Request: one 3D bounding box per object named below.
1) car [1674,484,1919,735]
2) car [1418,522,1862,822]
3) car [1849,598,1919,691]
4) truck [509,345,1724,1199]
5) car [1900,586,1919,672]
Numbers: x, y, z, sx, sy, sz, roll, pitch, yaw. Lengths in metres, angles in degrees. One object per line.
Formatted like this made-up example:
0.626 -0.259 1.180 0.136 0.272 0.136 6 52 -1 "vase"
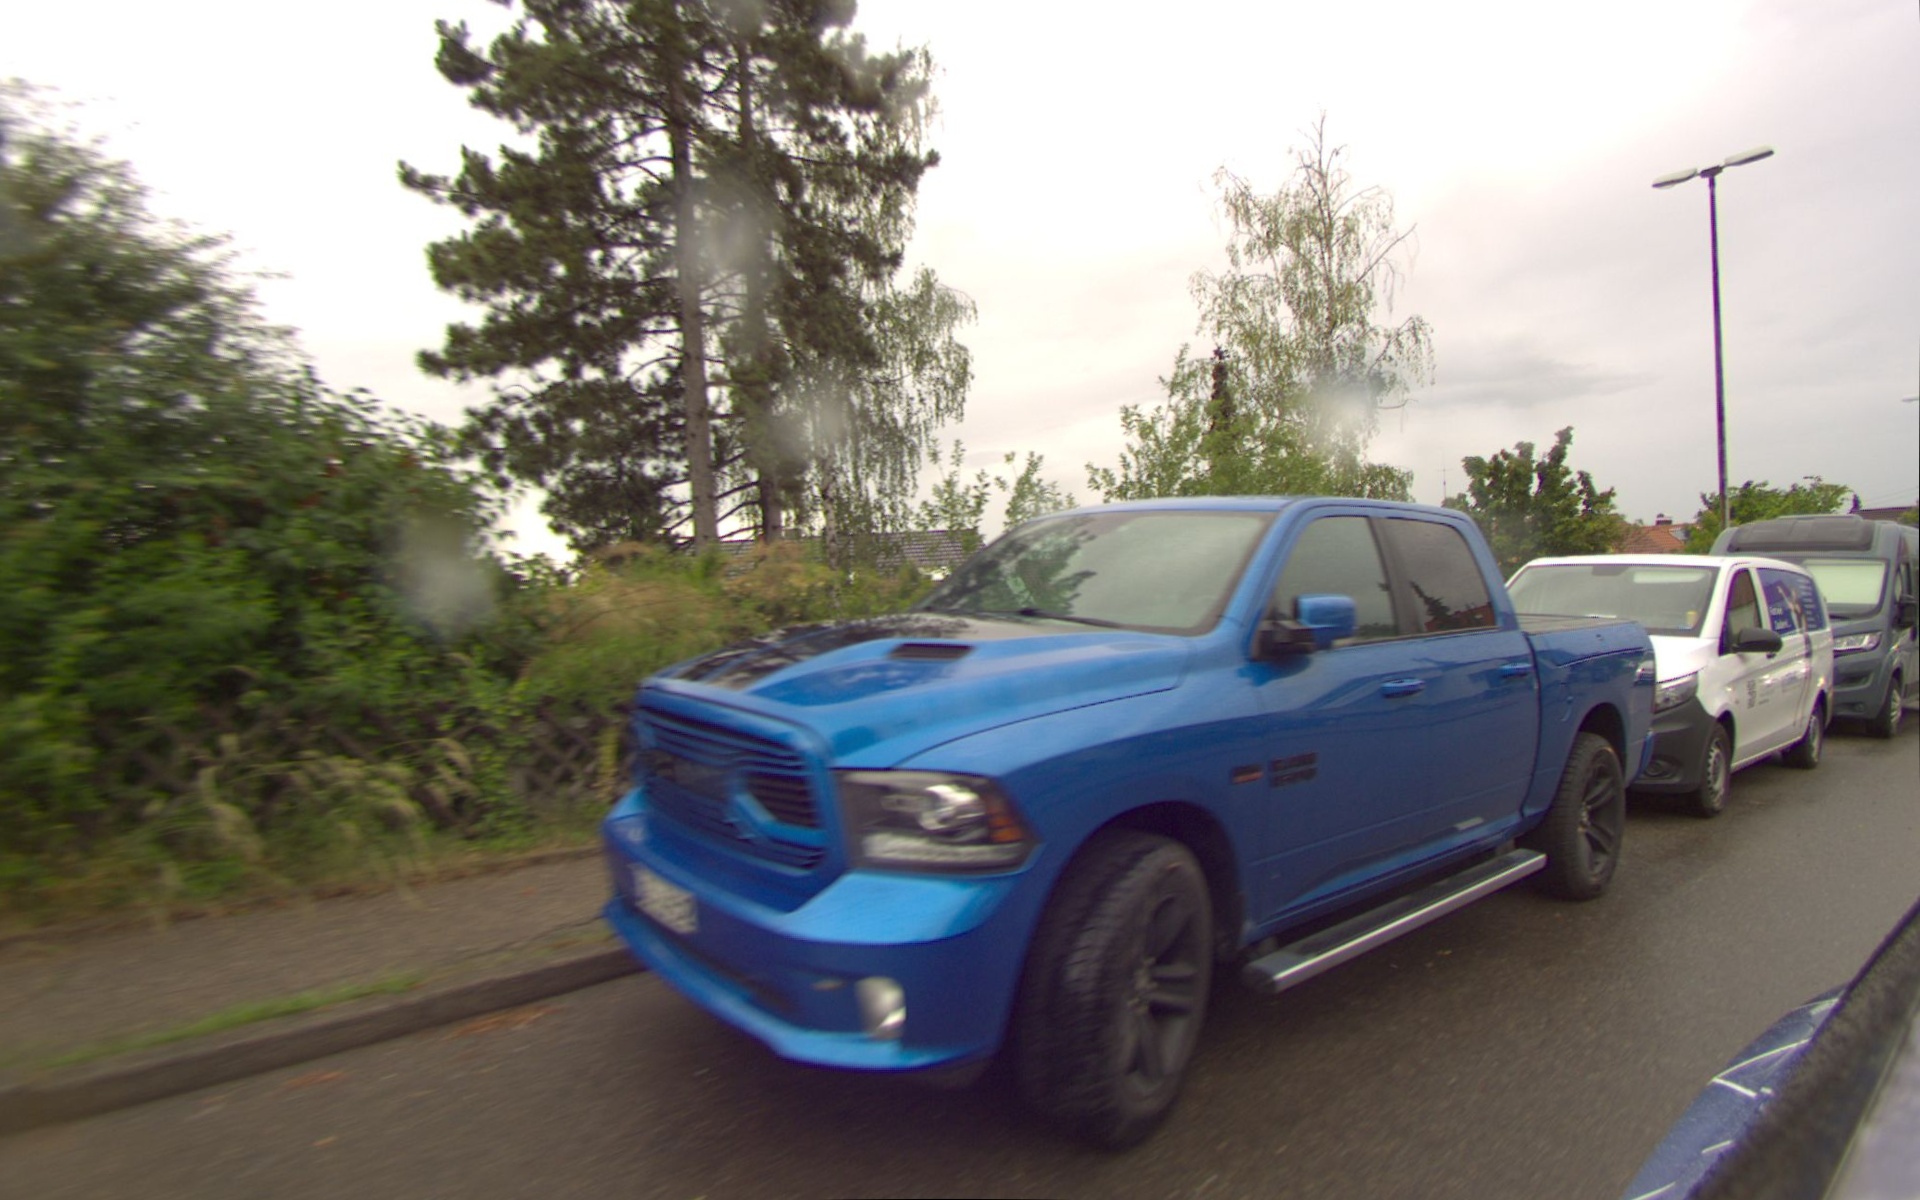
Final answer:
11.200 0.078 12.894 5.851 2.537 2.035 0 1 -40 "car"
6.044 0.429 8.680 5.176 1.865 1.831 0 1 -40 "car"
16.378 0.698 16.959 3.728 1.447 1.593 0 1 -38 "car"
1.536 0.466 4.912 6.502 1.876 2.117 0 -2 -41 "truck"
21.316 0.589 21.025 4.609 1.693 1.941 0 1 -38 "car"
